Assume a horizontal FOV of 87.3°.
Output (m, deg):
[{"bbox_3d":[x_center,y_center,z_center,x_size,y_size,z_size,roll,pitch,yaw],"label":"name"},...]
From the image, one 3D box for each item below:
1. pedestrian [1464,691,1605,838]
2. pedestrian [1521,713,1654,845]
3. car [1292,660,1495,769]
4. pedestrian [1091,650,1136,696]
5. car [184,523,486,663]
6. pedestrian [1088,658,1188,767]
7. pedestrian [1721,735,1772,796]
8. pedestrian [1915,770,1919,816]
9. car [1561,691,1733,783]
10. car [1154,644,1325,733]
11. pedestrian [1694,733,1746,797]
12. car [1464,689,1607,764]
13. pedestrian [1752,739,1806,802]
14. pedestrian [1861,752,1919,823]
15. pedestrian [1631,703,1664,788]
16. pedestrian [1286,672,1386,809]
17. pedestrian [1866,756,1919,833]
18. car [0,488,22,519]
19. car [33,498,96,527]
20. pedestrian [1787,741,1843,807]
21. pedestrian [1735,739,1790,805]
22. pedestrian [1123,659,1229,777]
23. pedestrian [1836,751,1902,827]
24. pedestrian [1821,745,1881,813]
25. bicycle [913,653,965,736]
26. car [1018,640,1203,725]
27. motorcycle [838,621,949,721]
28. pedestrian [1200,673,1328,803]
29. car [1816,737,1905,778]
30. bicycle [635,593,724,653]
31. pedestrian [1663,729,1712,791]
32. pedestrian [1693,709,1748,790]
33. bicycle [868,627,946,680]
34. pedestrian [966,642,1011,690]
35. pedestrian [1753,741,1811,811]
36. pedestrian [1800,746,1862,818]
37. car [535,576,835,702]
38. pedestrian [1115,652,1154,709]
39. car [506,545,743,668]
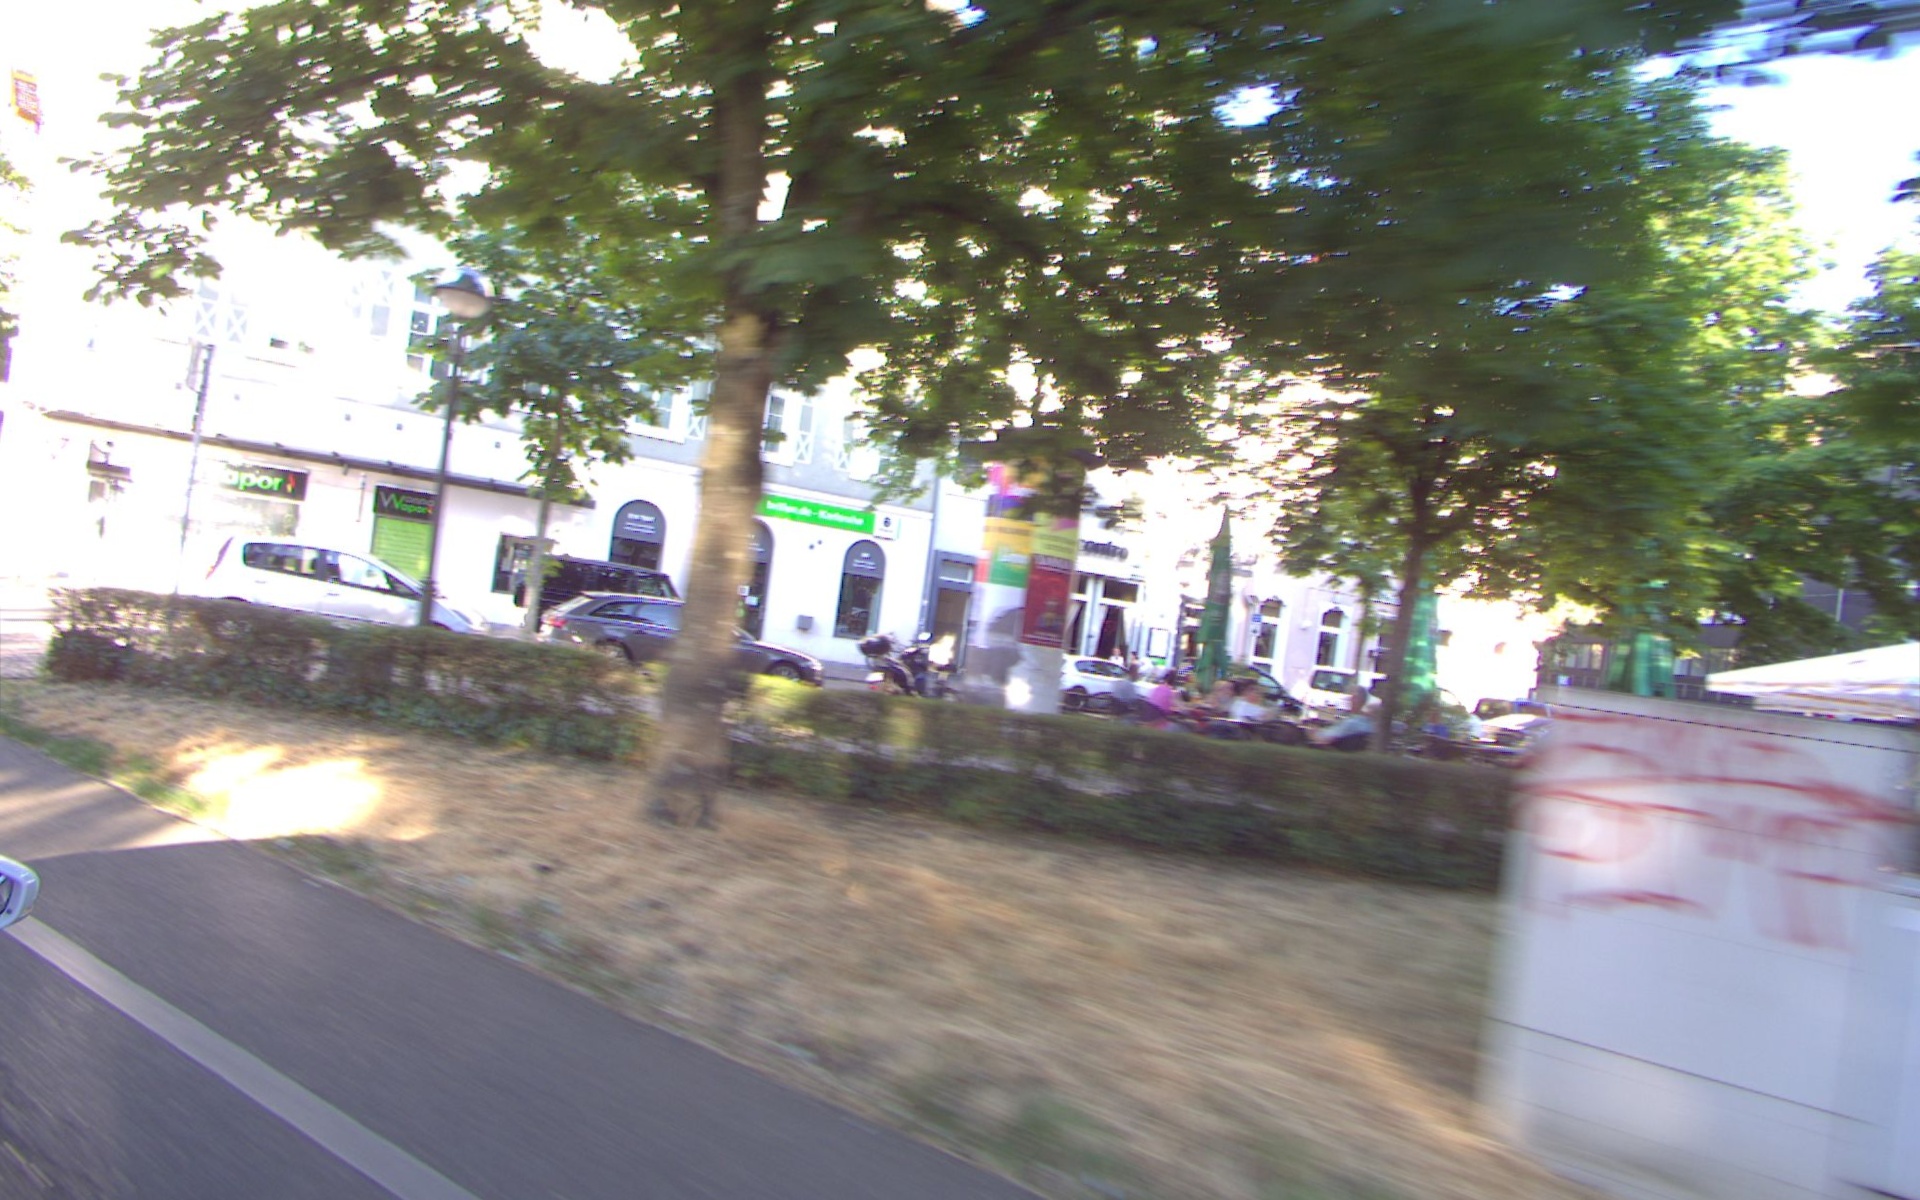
[{"bbox_3d":[6.159,1.737,10.834,0.720,1.372,1.013,6,-1,-12],"label":"pedestrian"},{"bbox_3d":[7.092,2.006,11.414,0.653,1.255,0.950,11,-3,-11],"label":"pedestrian"},{"bbox_3d":[10.654,2.815,24.730,4.381,2.037,1.989,8,-1,-24],"label":"car"},{"bbox_3d":[4.736,2.238,31.025,1.014,1.260,0.683,7,0,-25],"label":"pedestrian"},{"bbox_3d":[-9.146,-0.072,15.093,3.535,1.531,1.728,8,-1,-26],"label":"car"},{"bbox_3d":[2.397,1.510,13.519,0.944,1.255,0.657,13,-3,-33],"label":"pedestrian"},{"bbox_3d":[16.218,3.401,20.748,0.548,1.130,0.493,7,-1,-5],"label":"pedestrian"},{"bbox_3d":[16.732,3.165,17.032,0.548,1.130,0.493,7,-1,-5],"label":"pedestrian"},{"bbox_3d":[19.871,3.958,29.090,4.381,2.037,1.989,8,-1,-24],"label":"car"},{"bbox_3d":[8.210,2.600,29.508,4.459,1.986,2.011,9,-2,-26],"label":"car"},{"bbox_3d":[14.780,3.208,19.567,0.548,1.130,0.458,7,-1,-5],"label":"pedestrian"},{"bbox_3d":[19.983,4.394,34.934,4.459,1.986,2.011,9,-2,-26],"label":"car"},{"bbox_3d":[16.328,3.396,20.063,0.548,1.130,0.493,7,-1,-5],"label":"pedestrian"},{"bbox_3d":[16.575,3.329,17.886,0.548,1.130,0.493,7,-1,-5],"label":"pedestrian"},{"bbox_3d":[14.399,3.033,21.074,0.382,1.705,0.328,7,0,32],"label":"pedestrian"},{"bbox_3d":[3.787,1.404,10.161,0.560,1.259,0.611,7,0,-15],"label":"pedestrian"},{"bbox_3d":[15.244,3.148,16.302,0.548,1.130,0.493,7,-1,-5],"label":"pedestrian"},{"bbox_3d":[-56.511,-5.800,57.957,1.946,1.657,4.785,11,-3,-24],"label":"car"},{"bbox_3d":[-61.859,-6.019,69.594,1.946,1.429,4.814,8,-2,-27],"label":"car"},{"bbox_3d":[16.440,3.345,19.352,0.548,1.130,0.493,7,-1,-5],"label":"pedestrian"},{"bbox_3d":[15.164,3.242,19.019,0.548,1.130,0.458,7,-1,-5],"label":"pedestrian"},{"bbox_3d":[2.751,1.497,12.792,0.944,1.297,0.657,13,-3,-33],"label":"pedestrian"},{"bbox_3d":[15.293,3.172,16.924,0.548,1.130,0.493,7,-1,-5],"label":"pedestrian"},{"bbox_3d":[16.548,3.321,18.690,0.548,1.130,0.493,7,-1,-5],"label":"pedestrian"},{"bbox_3d":[-0.290,1.218,13.324,0.545,0.940,1.530,7,-1,-2],"label":"bicycle"},{"bbox_3d":[4.059,2.212,27.061,4.459,1.635,2.011,9,-2,-26],"label":"car"},{"bbox_3d":[-1.022,1.160,16.237,0.934,1.383,2.247,7,-3,16],"label":"motorcycle"},{"bbox_3d":[3.401,1.534,11.304,0.771,1.257,0.981,8,-1,-28],"label":"pedestrian"},{"bbox_3d":[42.793,7.470,47.818,3.509,1.438,1.874,8,-1,-26],"label":"car"},{"bbox_3d":[-7.129,0.596,25.574,1.964,1.260,0.683,8,-1,-26],"label":"bicycle"},{"bbox_3d":[14.617,3.214,20.227,0.521,1.130,0.458,7,-1,-5],"label":"pedestrian"},{"bbox_3d":[16.403,3.215,21.705,0.628,1.597,0.529,7,-1,-5],"label":"pedestrian"},{"bbox_3d":[-1.494,1.523,28.453,1.964,1.260,0.683,8,-1,-26],"label":"bicycle"},{"bbox_3d":[0.837,1.929,29.569,1.014,1.260,0.683,7,0,-25],"label":"pedestrian"},{"bbox_3d":[14.898,3.187,18.243,0.548,1.130,0.458,7,-1,-5],"label":"pedestrian"},{"bbox_3d":[15.250,3.185,17.625,0.548,1.130,0.493,7,-1,-5],"label":"pedestrian"},{"bbox_3d":[-4.671,0.681,17.218,4.617,1.531,1.728,8,-1,-26],"label":"car"},{"bbox_3d":[5.205,2.398,30.057,0.726,1.588,0.683,7,0,-25],"label":"pedestrian"},{"bbox_3d":[-7.235,0.167,21.713,4.458,1.987,2.011,8,-1,-26],"label":"car"}]
